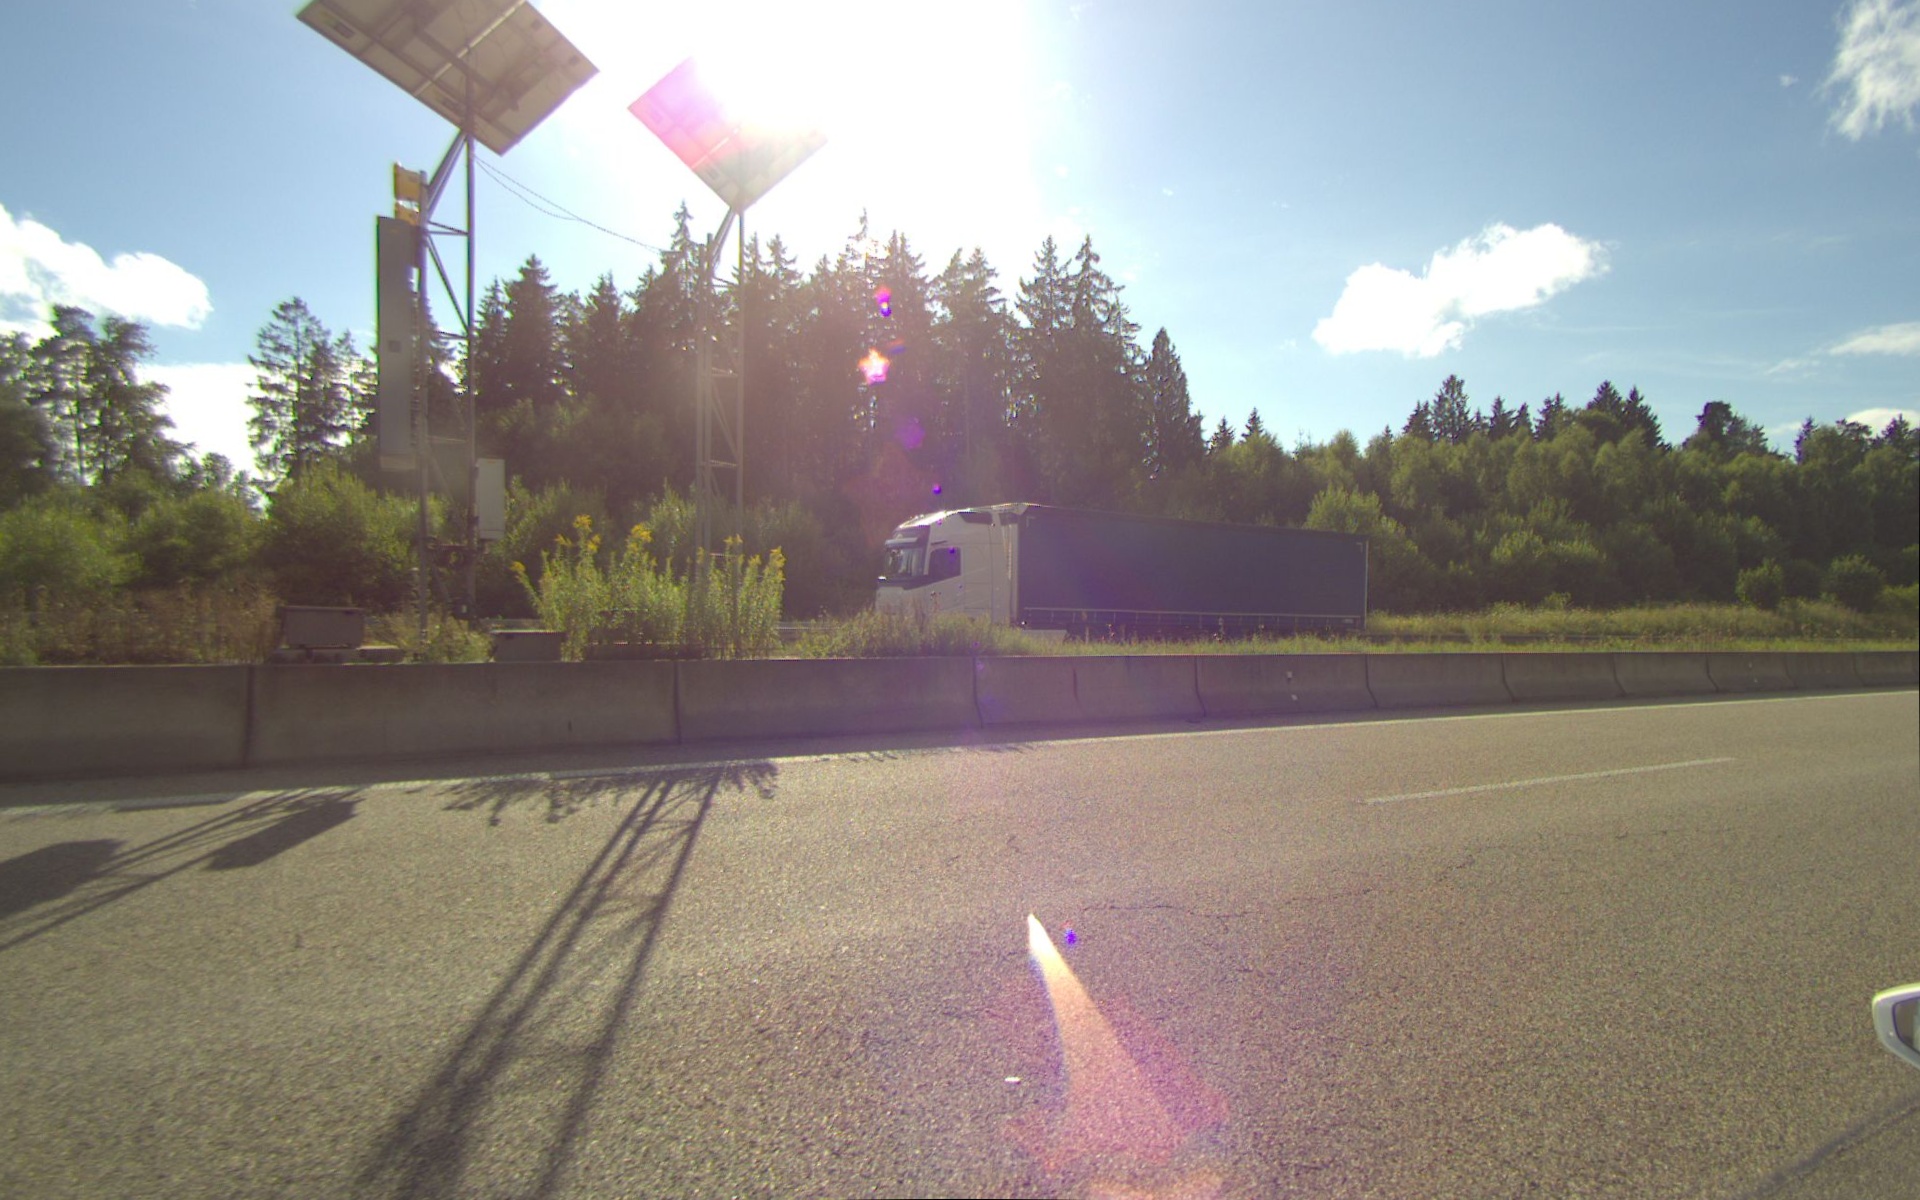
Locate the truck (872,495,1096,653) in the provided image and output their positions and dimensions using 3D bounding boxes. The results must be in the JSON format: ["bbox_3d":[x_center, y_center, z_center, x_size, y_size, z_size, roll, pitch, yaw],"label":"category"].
[{"bbox_3d":[0.667,-0.577,26.304,5.465,3.778,2.269,1,0,-29],"label":"truck"}]

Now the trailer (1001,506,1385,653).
[{"bbox_3d":[7.431,-0.407,30.136,13.114,3.778,2.269,1,0,-30],"label":"trailer"}]
